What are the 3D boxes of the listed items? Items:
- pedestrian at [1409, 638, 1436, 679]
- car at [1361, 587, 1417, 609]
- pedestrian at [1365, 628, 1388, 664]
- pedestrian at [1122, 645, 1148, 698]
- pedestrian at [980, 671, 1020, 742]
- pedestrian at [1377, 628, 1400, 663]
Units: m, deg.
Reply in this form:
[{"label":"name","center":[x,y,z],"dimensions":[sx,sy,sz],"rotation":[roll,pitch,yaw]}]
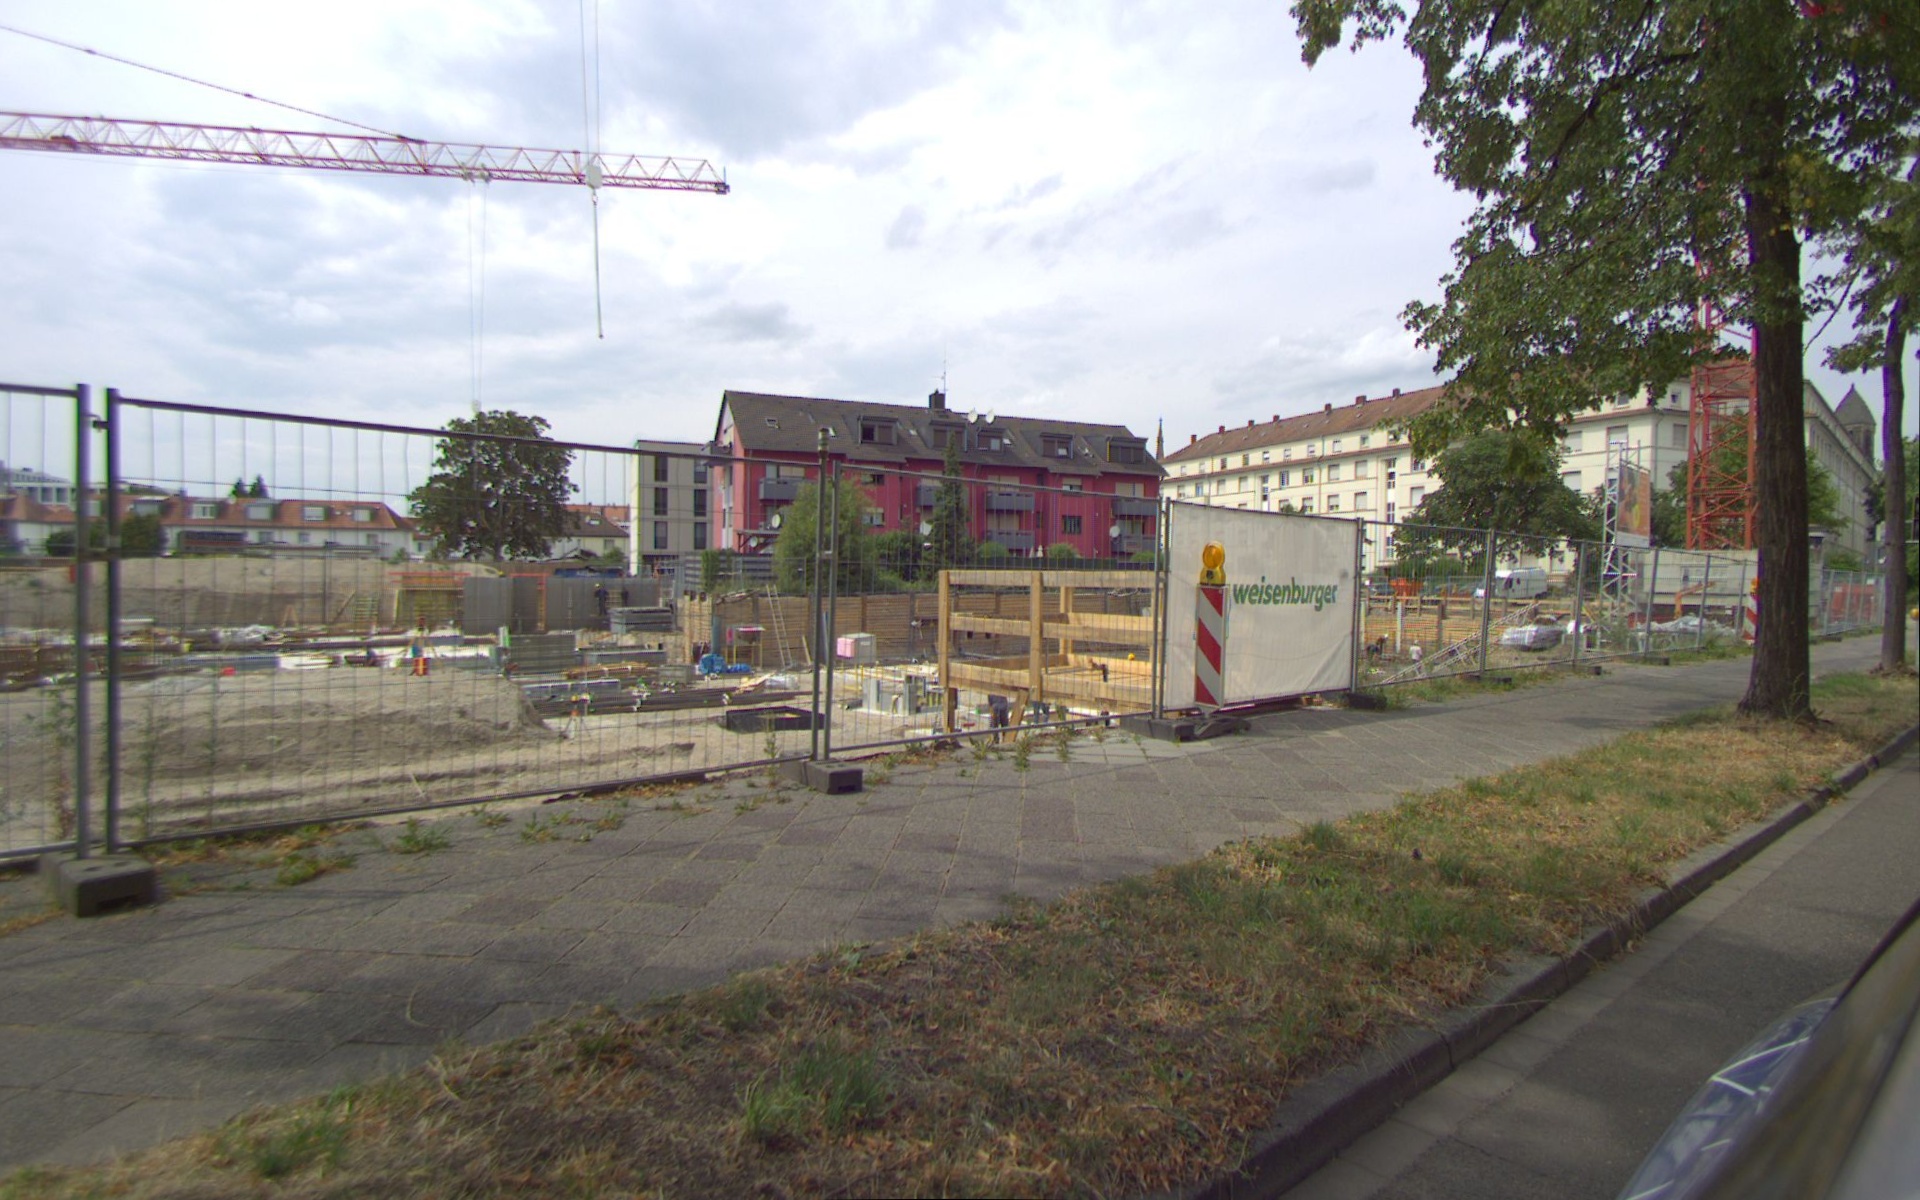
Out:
[{"label":"pedestrian","center":[20.805,2.634,45.549],"dimensions":[0.706,1.743,0.846],"rotation":[1,2,-3]},{"label":"car","center":[33.824,-0.182,79.779],"dimensions":[3.837,1.609,1.803],"rotation":[-1,-1,-20]},{"label":"pedestrian","center":[21.220,2.320,51.595],"dimensions":[0.706,1.743,0.846],"rotation":[1,2,-3]},{"label":"pedestrian","center":[6.120,2.510,35.455],"dimensions":[0.707,1.743,0.845],"rotation":[1,2,1]},{"label":"pedestrian","center":[1.065,2.820,26.946],"dimensions":[0.705,1.743,0.847],"rotation":[0,2,-25]},{"label":"pedestrian","center":[21.955,2.323,51.887],"dimensions":[0.706,1.743,0.846],"rotation":[1,2,-3]}]
